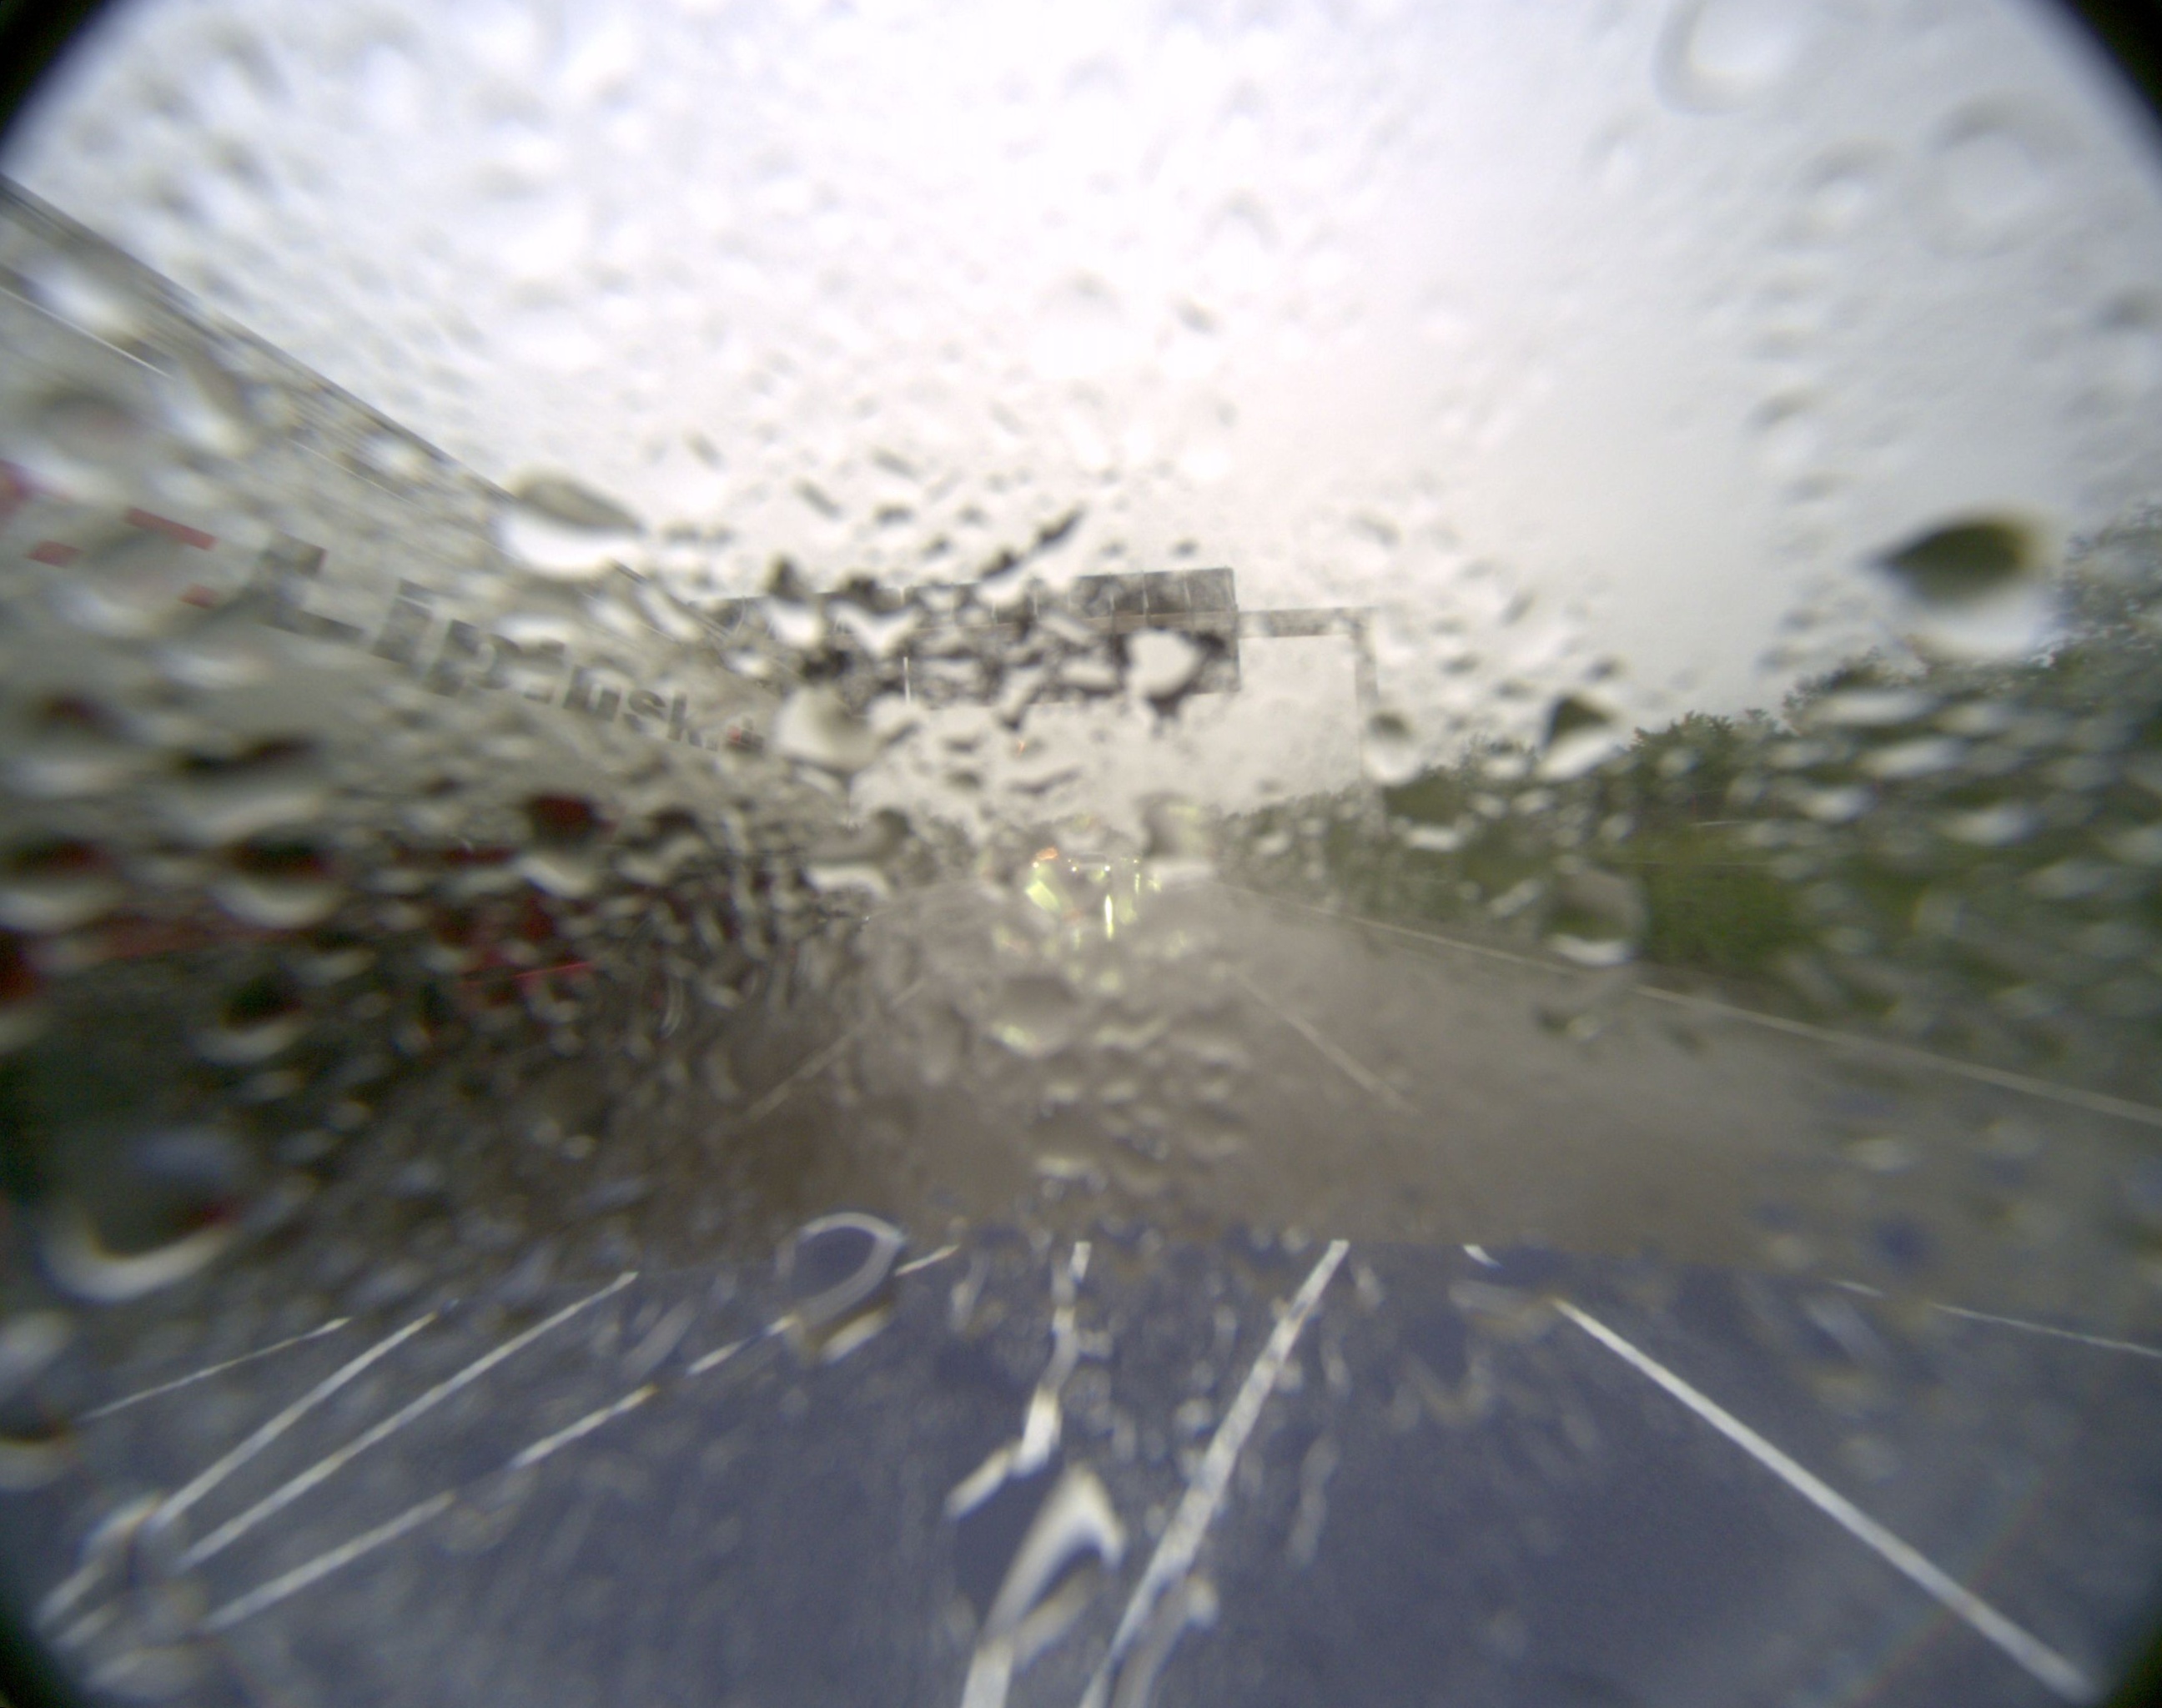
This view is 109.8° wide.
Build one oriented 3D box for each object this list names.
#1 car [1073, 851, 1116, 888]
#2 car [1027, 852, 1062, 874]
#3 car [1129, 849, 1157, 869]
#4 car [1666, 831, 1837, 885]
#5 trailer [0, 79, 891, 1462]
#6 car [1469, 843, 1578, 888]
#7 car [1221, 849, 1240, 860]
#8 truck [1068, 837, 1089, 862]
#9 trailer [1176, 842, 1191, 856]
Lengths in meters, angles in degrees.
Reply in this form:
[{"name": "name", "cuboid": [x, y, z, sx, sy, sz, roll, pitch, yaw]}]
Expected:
[{"name": "car", "cuboid": [0.684, 0.661, 34.824, 1.751, 1.545, 4.091, -1, 0, 4]}, {"name": "car", "cuboid": [-3.081, 0.766, 64.966, 2.463, 1.736, 5.720, -1, 0, 3]}, {"name": "car", "cuboid": [5.008, 0.407, 61.735, 1.900, 1.533, 4.090, -1, 0, 0]}, {"name": "car", "cuboid": [22.172, 0.120, 25.380, 1.998, 1.630, 4.264, -1, 0, 1]}, {"name": "trailer", "cuboid": [-4.407, -0.208, 4.943, 3.196, 3.648, 11.666, -1, 0, 1]}, {"name": "car", "cuboid": [17.308, 0.411, 29.977, 1.998, 1.630, 4.000, -1, 0, 1]}, {"name": "car", "cuboid": [19.288, 0.028, 97.874, 1.752, 1.375, 3.741, -1, 0, 1]}, {"name": "truck", "cuboid": [-0.340, -0.761, 127.167, 2.754, 4.054, 6.485, -1, 0, 6]}, {"name": "trailer", "cuboid": [33.603, -1.574, 249.395, 3.878, 4.668, 12.245, -1, 0, 2]}]
